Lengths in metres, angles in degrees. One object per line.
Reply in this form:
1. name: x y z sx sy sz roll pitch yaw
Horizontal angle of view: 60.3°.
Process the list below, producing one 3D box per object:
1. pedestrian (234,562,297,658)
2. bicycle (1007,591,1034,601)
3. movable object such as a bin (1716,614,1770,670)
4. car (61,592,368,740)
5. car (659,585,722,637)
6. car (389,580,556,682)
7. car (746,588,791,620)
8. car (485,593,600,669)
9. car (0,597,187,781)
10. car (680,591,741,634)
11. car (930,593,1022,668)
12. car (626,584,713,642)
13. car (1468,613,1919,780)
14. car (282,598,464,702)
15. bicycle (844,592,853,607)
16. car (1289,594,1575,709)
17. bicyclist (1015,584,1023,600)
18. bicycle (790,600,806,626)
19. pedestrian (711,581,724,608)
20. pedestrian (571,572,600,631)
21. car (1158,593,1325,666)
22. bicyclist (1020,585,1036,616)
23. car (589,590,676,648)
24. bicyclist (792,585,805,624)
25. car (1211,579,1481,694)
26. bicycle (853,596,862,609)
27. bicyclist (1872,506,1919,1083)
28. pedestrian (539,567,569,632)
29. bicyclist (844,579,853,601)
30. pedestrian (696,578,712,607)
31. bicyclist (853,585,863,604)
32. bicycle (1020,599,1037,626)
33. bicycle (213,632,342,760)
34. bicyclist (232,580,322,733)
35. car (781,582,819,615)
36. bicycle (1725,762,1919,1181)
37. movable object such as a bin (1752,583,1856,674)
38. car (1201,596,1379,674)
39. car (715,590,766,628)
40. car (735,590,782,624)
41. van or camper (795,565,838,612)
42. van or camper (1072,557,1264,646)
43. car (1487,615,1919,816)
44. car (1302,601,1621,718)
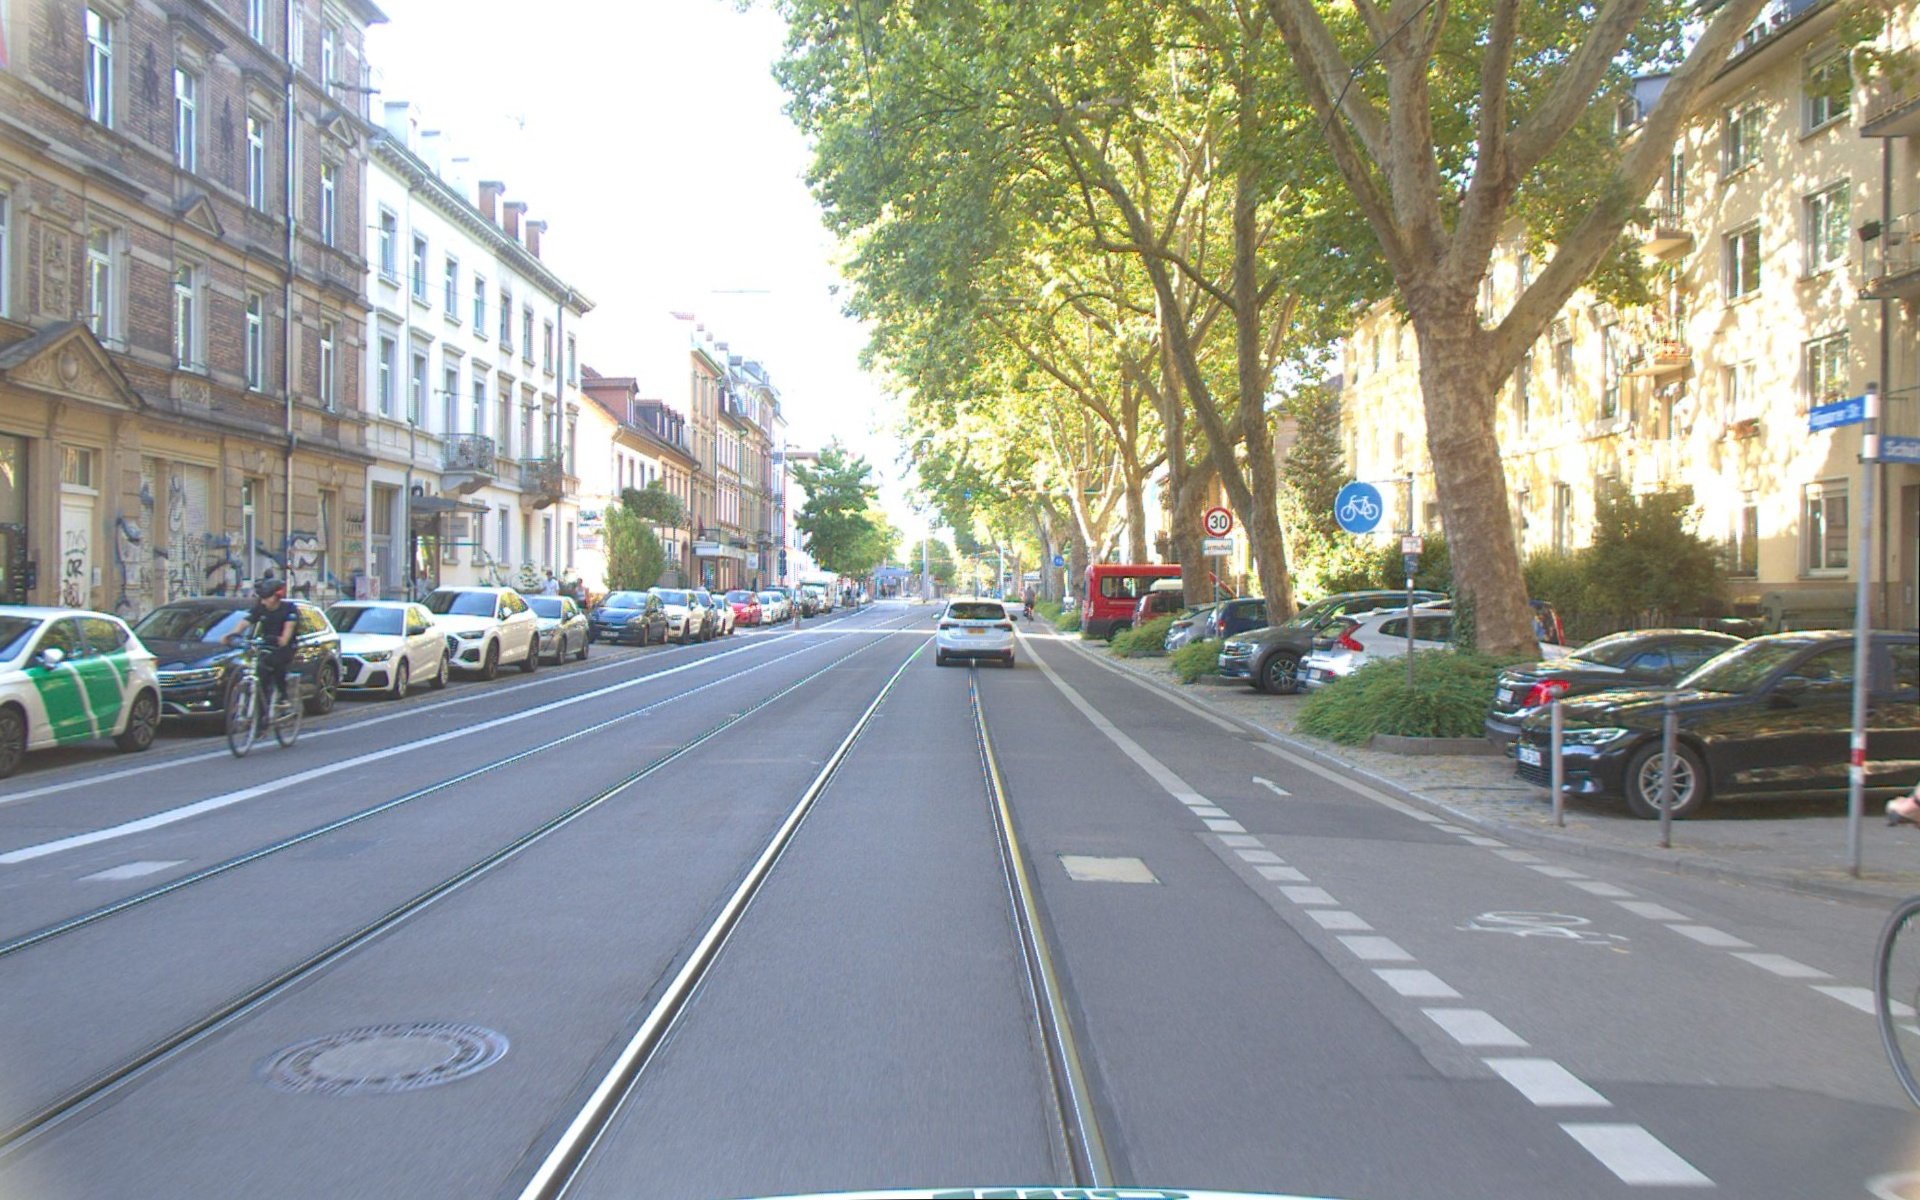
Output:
1. pedestrian: -12.471 0.179 29.701 0.650 1.694 0.767 1 0 31
2. bicycle: 6.222 -0.418 171.122 2.711 1.017 0.593 2 0 15
3. movable object such as a bin: 13.908 0.749 29.388 0.732 0.959 0.465 -1 0 0
4. car: -9.054 0.715 20.577 1.705 1.589 4.785 1 0 -1
5. car: -9.256 0.350 57.076 1.820 1.733 4.654 0 0 -5
6. car: -9.147 0.535 31.432 1.750 1.753 4.718 1 0 0
7. car: -9.650 0.193 83.504 1.790 1.529 4.449 1 0 -1
8. car: -9.225 0.645 36.816 1.629 1.547 4.063 1 0 -2
9. car: -9.052 0.755 15.544 1.705 1.518 4.044 1 0 -1
10. car: -9.403 0.438 62.632 1.652 1.502 4.257 2 0 0
11. car: 0.297 0.620 36.104 1.805 1.506 3.837 1 0 -2
12. car: -9.028 0.373 51.717 1.818 1.733 4.763 0 0 1
13. car: 7.268 0.909 16.366 4.010 1.517 1.682 0 0 4
14. car: -9.119 0.728 26.019 1.666 1.445 3.997 1 0 -4
15. bicycle: -8.364 -0.036 123.892 0.474 1.065 2.040 -2 0 2
16. car: 7.265 0.772 25.691 3.946 1.672 1.681 -1 0 -2
17. bicyclist: 6.081 -0.796 171.191 0.721 1.617 0.587 0 0 12
18. bicycle: -6.936 0.548 70.765 0.471 1.105 1.846 0 0 1
19. pedestrian: -13.872 -0.315 94.659 0.625 1.486 0.654 1 0 -16
20. pedestrian: -11.823 0.055 52.184 0.744 1.853 0.829 0 0 -3
21. car: 6.440 0.665 38.064 3.522 1.544 1.693 -1 0 0
22. bicyclist: 3.102 0.016 75.358 0.665 1.362 0.525 1 0 0
23. car: -9.203 0.509 46.747 1.521 1.542 3.925 0 0 2
24. bicyclist: -6.923 0.206 70.892 0.463 1.664 0.800 0 0 1
25. car: 6.641 0.600 28.714 4.177 1.749 1.848 -2 0 -3
26. bicycle: -8.046 0.188 130.278 0.488 0.959 1.922 -2 0 2
27. bicyclist: 2.962 0.550 4.244 0.602 1.579 0.935 5 0 0
28. pedestrian: -12.837 -0.015 52.344 0.744 2.049 0.829 0 0 -2
29. bicyclist: -8.375 -0.761 124.034 0.524 1.663 0.897 -2 0 2
30. pedestrian: -14.631 -0.423 94.487 0.759 1.662 0.654 1 0 -16
31. bicyclist: -8.035 -0.427 130.298 0.625 1.529 1.070 -1 0 1
32. bicycle: 3.103 0.552 75.077 0.666 1.175 2.964 1 0 0
33. bicycle: -6.907 0.937 16.836 0.412 1.170 2.231 -1 0 -1
34. bicyclist: -6.960 0.561 16.879 0.570 1.508 0.807 -1 0 -1
35. car: -9.624 -0.106 99.805 1.925 1.812 4.936 3 0 -2
36. bicycle: 2.931 1.088 4.399 0.583 1.022 2.511 3 0 0
37. movable object such as a bin: 14.019 0.458 27.509 1.143 1.462 1.117 -1 0 0
38. car: 7.050 0.736 35.548 3.521 1.627 1.541 0 -1 0
39. car: -9.594 0.383 72.547 1.536 1.590 3.450 0 0 4
40. car: -9.509 0.303 78.216 1.790 1.529 4.686 1 0 -2
41. van or camper: -10.167 -0.803 117.689 2.171 3.195 7.115 1 0 2
42. van or camper: 6.517 0.016 52.303 5.698 2.563 2.287 -2 1 -2
43. car: 6.696 0.905 13.786 4.014 1.517 1.830 0 0 -3
44. car: 6.931 0.801 23.107 3.946 1.506 1.681 -1 0 -2
